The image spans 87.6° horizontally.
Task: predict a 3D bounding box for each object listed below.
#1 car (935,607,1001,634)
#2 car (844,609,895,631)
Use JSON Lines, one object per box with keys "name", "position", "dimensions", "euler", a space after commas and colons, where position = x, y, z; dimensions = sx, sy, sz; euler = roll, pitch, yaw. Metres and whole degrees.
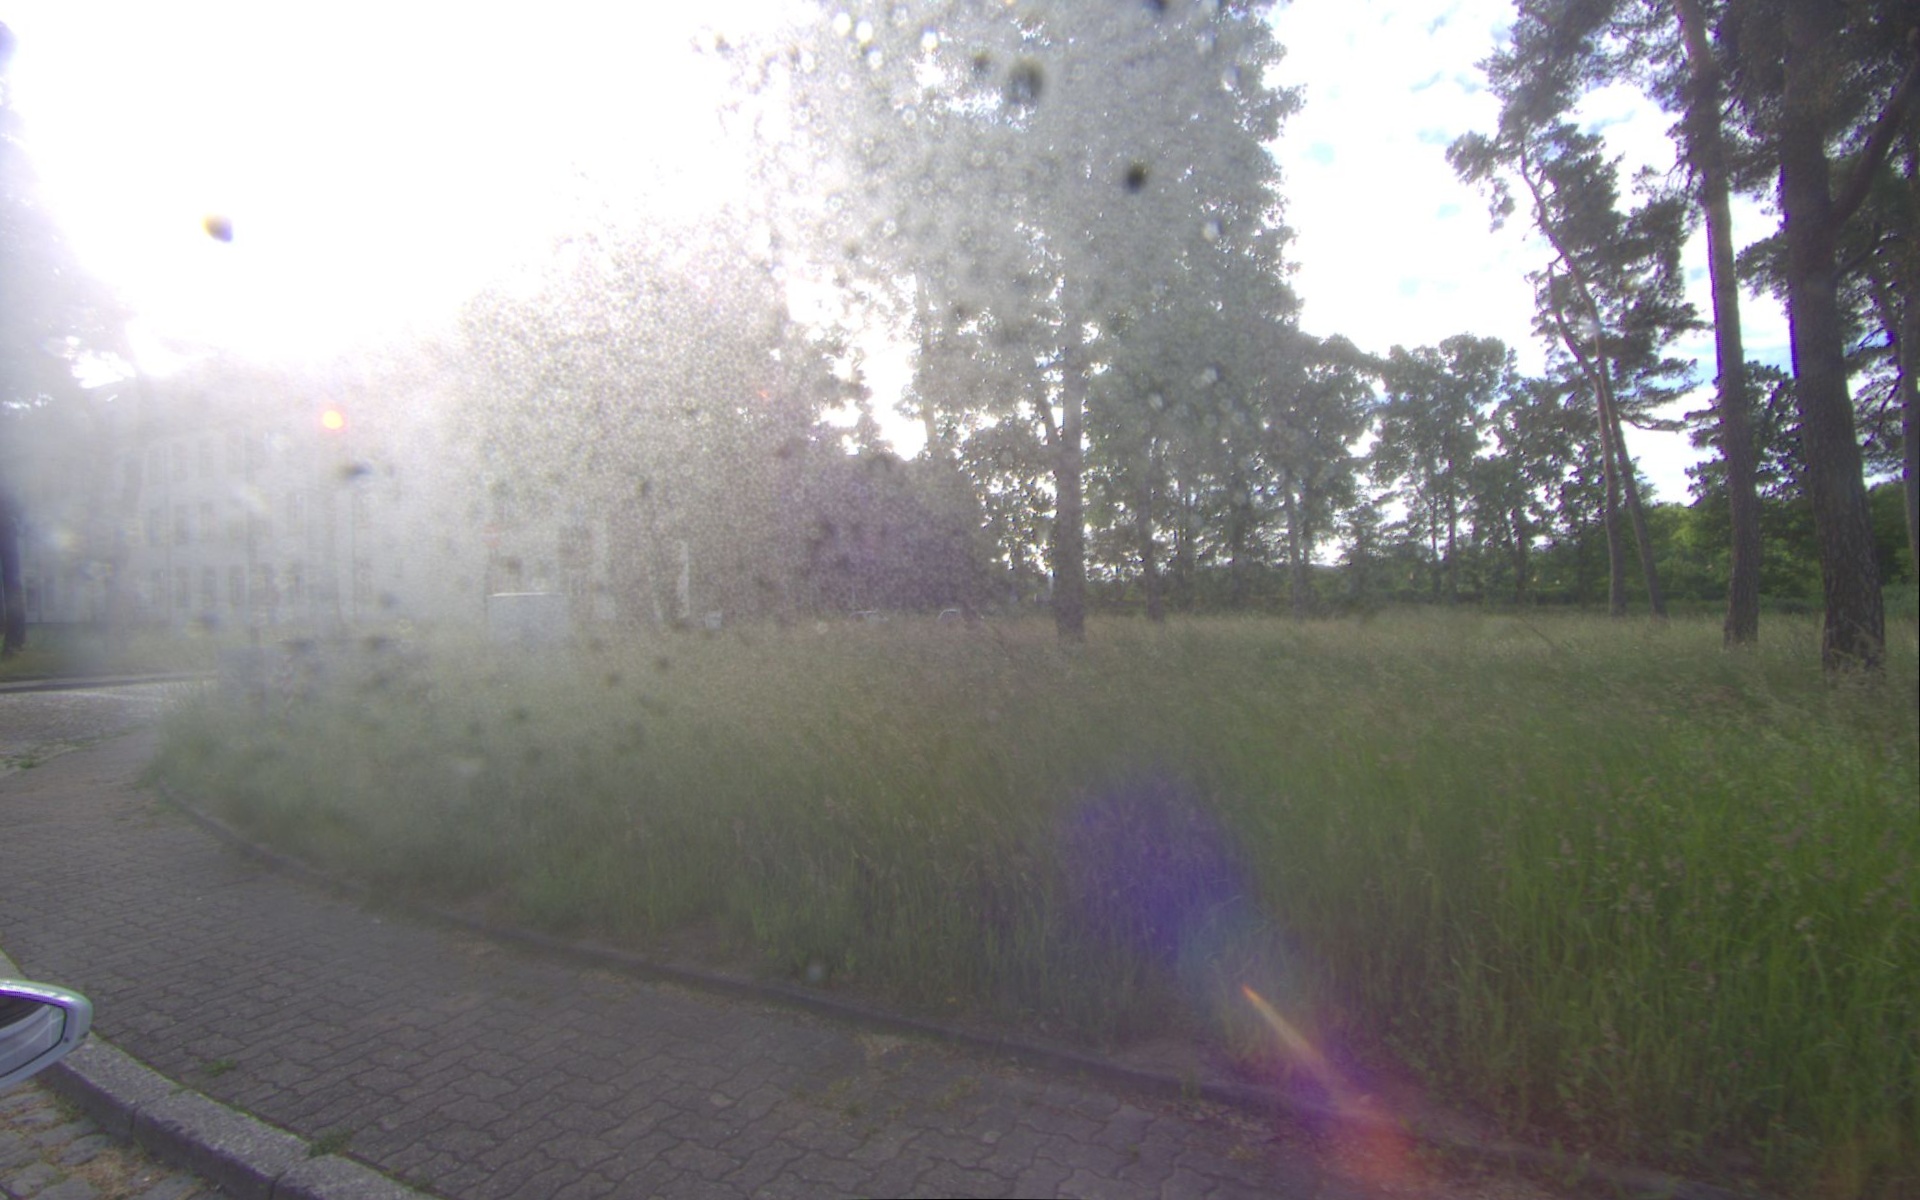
{"name": "car", "position": [0.493, 1.258, 63.284], "dimensions": [3.924, 1.622, 1.999], "euler": [0, 0, -8]}
{"name": "car", "position": [-6.145, 1.407, 68.313], "dimensions": [1.539, 1.415, 3.985], "euler": [-1, -3, 29]}
